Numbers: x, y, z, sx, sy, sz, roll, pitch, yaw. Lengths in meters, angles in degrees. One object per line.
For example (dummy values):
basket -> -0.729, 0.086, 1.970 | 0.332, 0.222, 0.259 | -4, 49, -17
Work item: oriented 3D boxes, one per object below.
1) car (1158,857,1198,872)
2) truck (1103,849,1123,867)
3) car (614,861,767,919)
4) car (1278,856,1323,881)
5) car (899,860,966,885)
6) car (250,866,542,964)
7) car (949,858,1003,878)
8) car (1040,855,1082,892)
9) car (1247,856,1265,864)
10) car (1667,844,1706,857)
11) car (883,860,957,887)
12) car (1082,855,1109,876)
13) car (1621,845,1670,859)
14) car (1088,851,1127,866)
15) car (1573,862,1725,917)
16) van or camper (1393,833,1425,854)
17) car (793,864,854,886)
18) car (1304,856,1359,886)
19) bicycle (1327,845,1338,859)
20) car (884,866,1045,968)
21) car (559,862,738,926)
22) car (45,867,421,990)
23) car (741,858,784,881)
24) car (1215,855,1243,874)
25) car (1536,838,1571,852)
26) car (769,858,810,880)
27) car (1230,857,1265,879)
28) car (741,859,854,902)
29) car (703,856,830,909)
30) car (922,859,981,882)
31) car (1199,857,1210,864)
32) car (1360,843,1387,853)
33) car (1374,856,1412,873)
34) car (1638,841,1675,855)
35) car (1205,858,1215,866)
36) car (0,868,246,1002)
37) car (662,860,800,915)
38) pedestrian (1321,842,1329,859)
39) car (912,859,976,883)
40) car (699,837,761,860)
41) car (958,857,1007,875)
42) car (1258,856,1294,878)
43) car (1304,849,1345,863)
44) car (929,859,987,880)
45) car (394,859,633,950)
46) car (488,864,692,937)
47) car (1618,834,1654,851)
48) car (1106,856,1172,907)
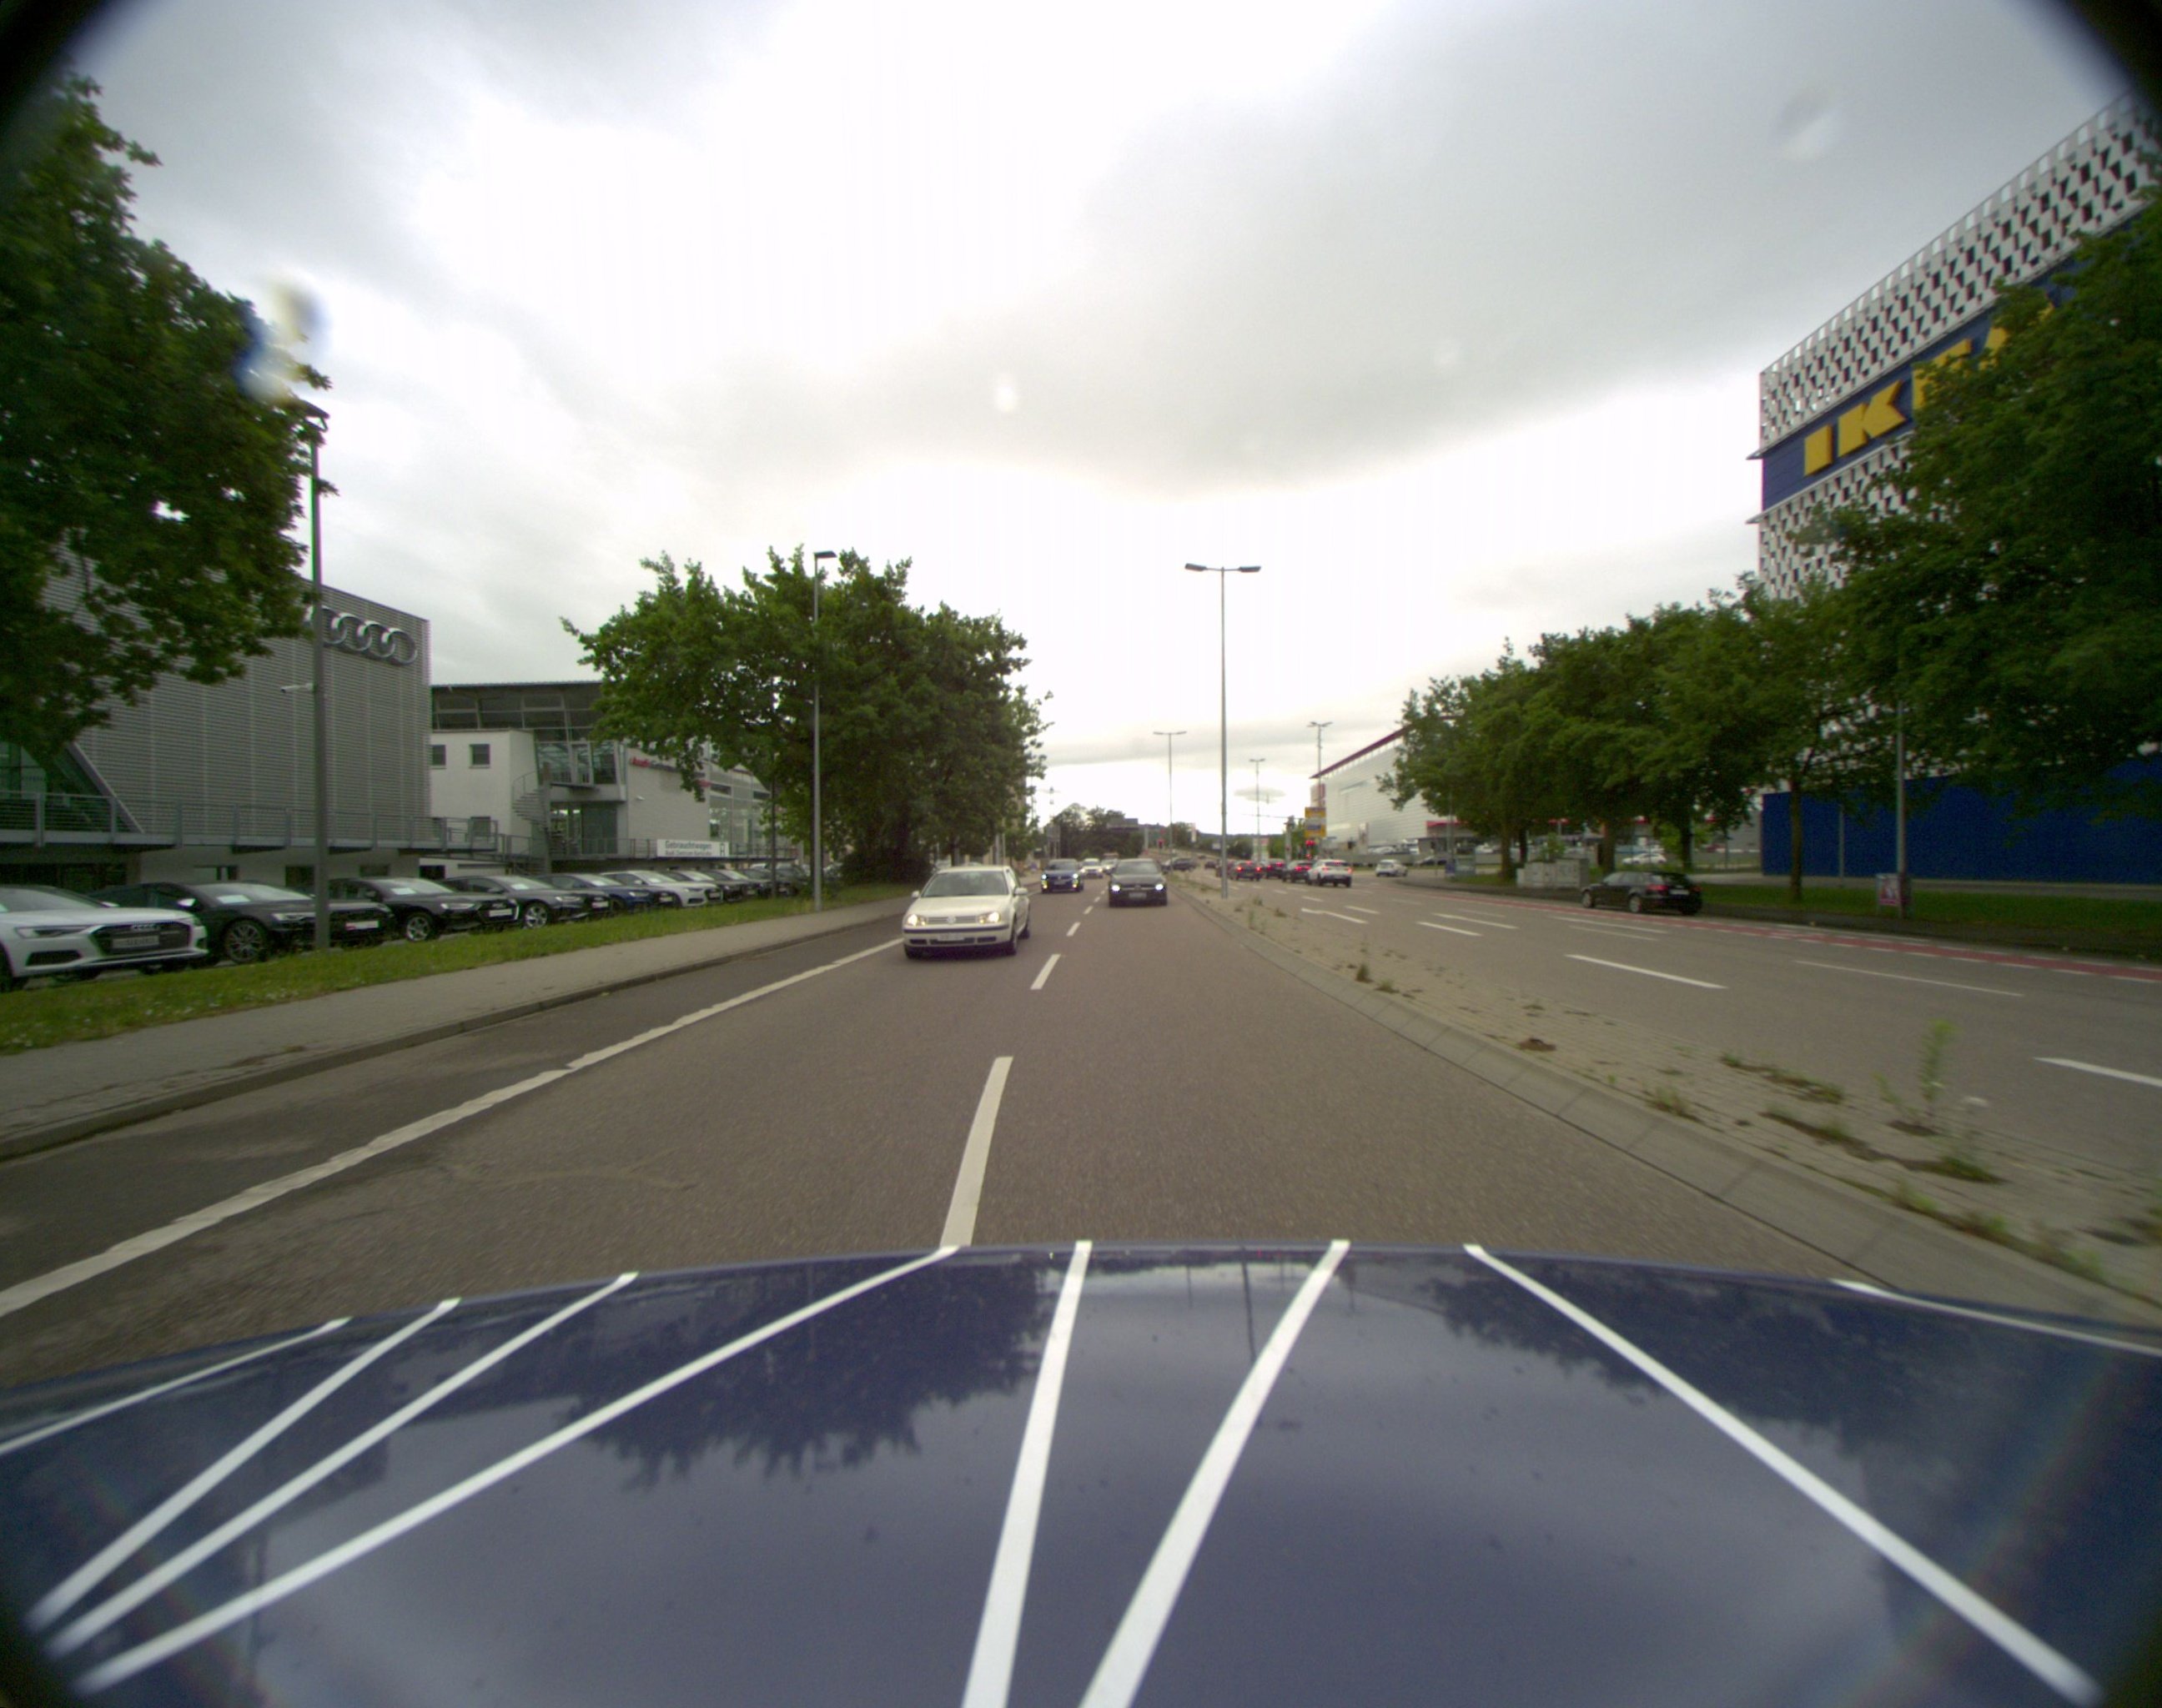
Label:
car -> 11.031, 1.208, 86.591 | 4.220, 1.564, 1.801 | -1, -2, -11
truck -> 5.079, 0.665, 120.368 | 2.818, 2.622, 6.680 | -2, -2, 5
car -> -12.990, 1.183, 25.409 | 4.073, 1.477, 1.820 | -6, -2, 3
car -> 14.904, 0.961, 51.759 | 1.884, 1.535, 4.598 | 1, 1, 2
car -> -10.387, 1.263, 53.290 | 4.186, 1.477, 1.909 | -4, 0, 4
car -> -13.535, 1.184, 15.169 | 4.185, 1.447, 1.935 | -6, -2, 5
car -> -9.515, 1.236, 69.282 | 4.512, 1.477, 2.070 | -4, 1, 3
car -> -0.936, 0.927, 35.993 | 1.847, 1.612, 4.333 | -1, -2, -2
car -> 42.625, 1.484, 184.779 | 4.190, 1.600, 1.724 | -1, -2, 12
car -> 88.084, -0.506, 110.480 | 3.995, 1.783, 1.892 | -2, -2, 5
car -> -10.632, 1.266, 50.372 | 4.375, 1.462, 1.895 | -4, 0, 4
car -> 1.252, 0.952, 62.798 | 1.798, 1.615, 4.378 | -2, -2, 6
car -> 66.283, -0.229, 89.227 | 4.213, 1.407, 1.804 | -2, -2, 7
car -> 2.747, 0.486, 78.306 | 1.798, 1.407, 4.228 | -3, -2, 38
car -> 18.538, 1.098, 25.077 | 1.922, 1.493, 4.252 | 2, 1, 3
van or camper -> 52.306, -1.625, 121.437 | 2.711, 3.116, 7.243 | -2, -2, 8
car -> -21.061, 1.739, 62.220 | 4.258, 1.477, 1.930 | -4, -2, 5
car -> 14.943, 0.995, 45.617 | 1.998, 1.585, 4.579 | 3, 0, 4
bicycle -> 24.632, -0.227, 74.527 | 0.595, 1.388, 1.937 | 1, 2, 31
car -> -1.820, 0.965, 13.247 | 1.836, 1.469, 4.007 | -2, -1, 5
car -> -12.999, 1.200, 23.000 | 4.205, 1.477, 1.960 | -6, -2, 4
car -> -13.900, 1.186, 12.625 | 4.185, 1.460, 2.001 | -6, -2, 5
car -> -32.465, 1.548, 77.568 | 1.998, 2.002, 4.908 | -2, 1, 3
car -> 12.434, 0.853, 64.105 | 1.739, 1.479, 4.079 | 1, 1, 4
car -> 73.250, -1.335, 117.799 | 3.995, 2.001, 2.001 | -2, -2, 5
car -> -29.633, 1.465, 77.413 | 1.998, 2.002, 4.908 | -2, 1, 3
car -> 12.023, 0.989, 54.965 | 1.861, 1.453, 4.334 | 1, -1, 4
car -> -12.487, 1.177, 33.614 | 4.132, 1.385, 1.872 | -7, -2, 3
car -> -12.746, 1.169, 30.980 | 4.247, 1.592, 1.877 | -7, -2, 3
car -> -9.980, 1.248, 58.711 | 4.040, 1.477, 1.877 | -4, 0, 4
car -> 28.202, 1.508, 173.972 | 1.816, 1.402, 4.879 | 0, -1, 2
car -> 53.519, -1.093, 138.857 | 4.254, 1.665, 1.778 | -2, -2, 7
car -> 27.461, 0.946, 66.772 | 1.857, 1.453, 4.342 | 1, -1, 40
car -> 87.307, -0.895, 115.306 | 3.995, 2.001, 2.001 | -2, -2, 5
car -> 24.277, 1.531, 142.879 | 1.693, 1.519, 3.930 | -2, -2, 6
car -> -14.251, 1.194, 10.034 | 4.403, 1.511, 2.001 | -6, -2, 5
car -> -13.020, 1.243, 28.408 | 4.217, 1.476, 1.827 | -7, -2, 3
pedestrian -> 24.028, -0.339, 74.756 | 0.639, 1.617, 0.693 | 0, 2, 31
car -> -10.077, 1.246, 56.105 | 4.227, 1.477, 1.872 | -4, 0, 5
car -> -27.650, -0.394, 59.901 | 3.996, 1.651, 1.826 | -2, -2, 3
car -> -9.308, 1.150, 72.164 | 4.224, 1.477, 1.875 | -3, 1, 5
car -> 15.686, 0.994, 61.445 | 1.884, 1.628, 4.334 | 2, 1, 2
car -> 28.487, 0.214, 88.940 | 4.213, 1.407, 1.804 | -2, -2, 7
car -> -9.879, 1.236, 61.389 | 4.193, 1.477, 1.853 | -4, 0, 5
car -> -13.312, 1.167, 17.981 | 4.185, 1.652, 2.001 | -6, -2, 5
car -> -13.106, 1.226, 20.442 | 4.191, 1.477, 1.978 | -6, -2, 5
car -> 74.843, -1.558, 102.515 | 1.998, 2.001, 4.003 | -2, -2, 5
car -> 1.785, 0.876, 24.305 | 1.858, 1.425, 4.198 | -3, -2, 2
